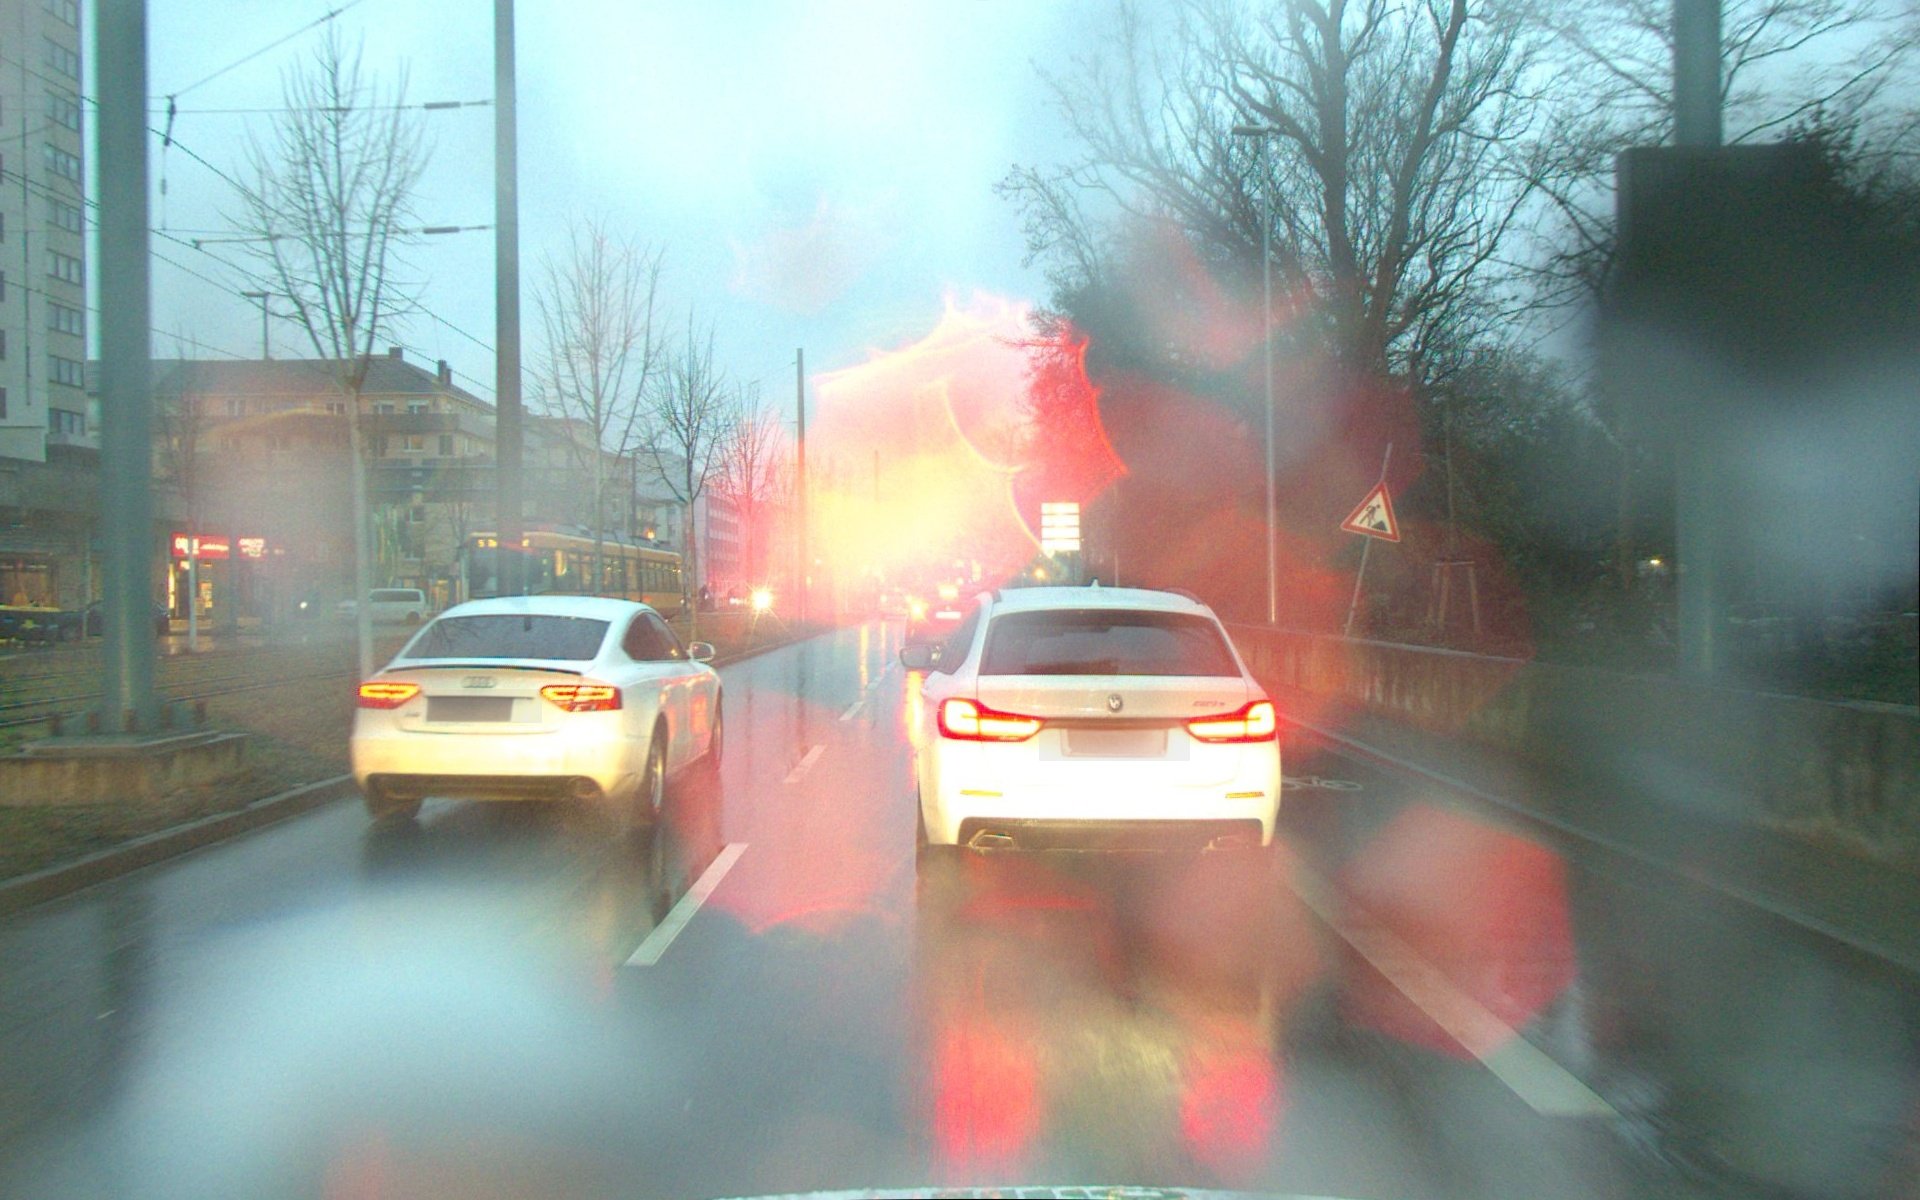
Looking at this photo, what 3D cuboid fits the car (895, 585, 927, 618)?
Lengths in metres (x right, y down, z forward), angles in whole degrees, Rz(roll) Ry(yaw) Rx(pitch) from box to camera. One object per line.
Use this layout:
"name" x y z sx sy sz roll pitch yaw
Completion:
"car" -3.086 0.072 105.712 1.953 2.049 3.999 1 0 -1

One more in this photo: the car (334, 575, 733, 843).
"car" -2.686 0.611 11.424 1.724 1.495 4.250 1 0 -1

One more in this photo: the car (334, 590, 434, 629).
"car" -31.526 0.474 90.605 4.843 2.049 1.969 -1 1 -42

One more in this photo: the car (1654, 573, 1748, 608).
"car" 36.801 -0.483 82.193 1.798 1.691 3.949 1 0 -36

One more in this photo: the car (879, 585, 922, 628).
"car" -2.899 0.293 81.359 1.953 2.049 3.999 1 0 -1

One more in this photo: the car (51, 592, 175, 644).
"car" -31.746 0.640 62.026 3.787 1.828 1.880 -1 1 -42

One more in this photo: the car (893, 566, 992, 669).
"car" -0.374 0.343 35.200 1.953 2.049 3.999 1 0 -1

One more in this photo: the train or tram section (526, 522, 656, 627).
"train or tram section" -13.552 -0.894 61.549 2.784 3.566 9.156 -2 0 -1

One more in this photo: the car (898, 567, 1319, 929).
"car" 0.584 0.649 9.422 1.725 1.580 4.248 1 0 -4

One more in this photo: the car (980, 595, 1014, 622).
"car" 2.873 0.646 127.044 1.951 2.049 4.003 1 0 10

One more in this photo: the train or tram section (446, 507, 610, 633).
"train or tram section" -13.451 -0.872 52.365 2.784 3.566 9.156 -2 0 -1
